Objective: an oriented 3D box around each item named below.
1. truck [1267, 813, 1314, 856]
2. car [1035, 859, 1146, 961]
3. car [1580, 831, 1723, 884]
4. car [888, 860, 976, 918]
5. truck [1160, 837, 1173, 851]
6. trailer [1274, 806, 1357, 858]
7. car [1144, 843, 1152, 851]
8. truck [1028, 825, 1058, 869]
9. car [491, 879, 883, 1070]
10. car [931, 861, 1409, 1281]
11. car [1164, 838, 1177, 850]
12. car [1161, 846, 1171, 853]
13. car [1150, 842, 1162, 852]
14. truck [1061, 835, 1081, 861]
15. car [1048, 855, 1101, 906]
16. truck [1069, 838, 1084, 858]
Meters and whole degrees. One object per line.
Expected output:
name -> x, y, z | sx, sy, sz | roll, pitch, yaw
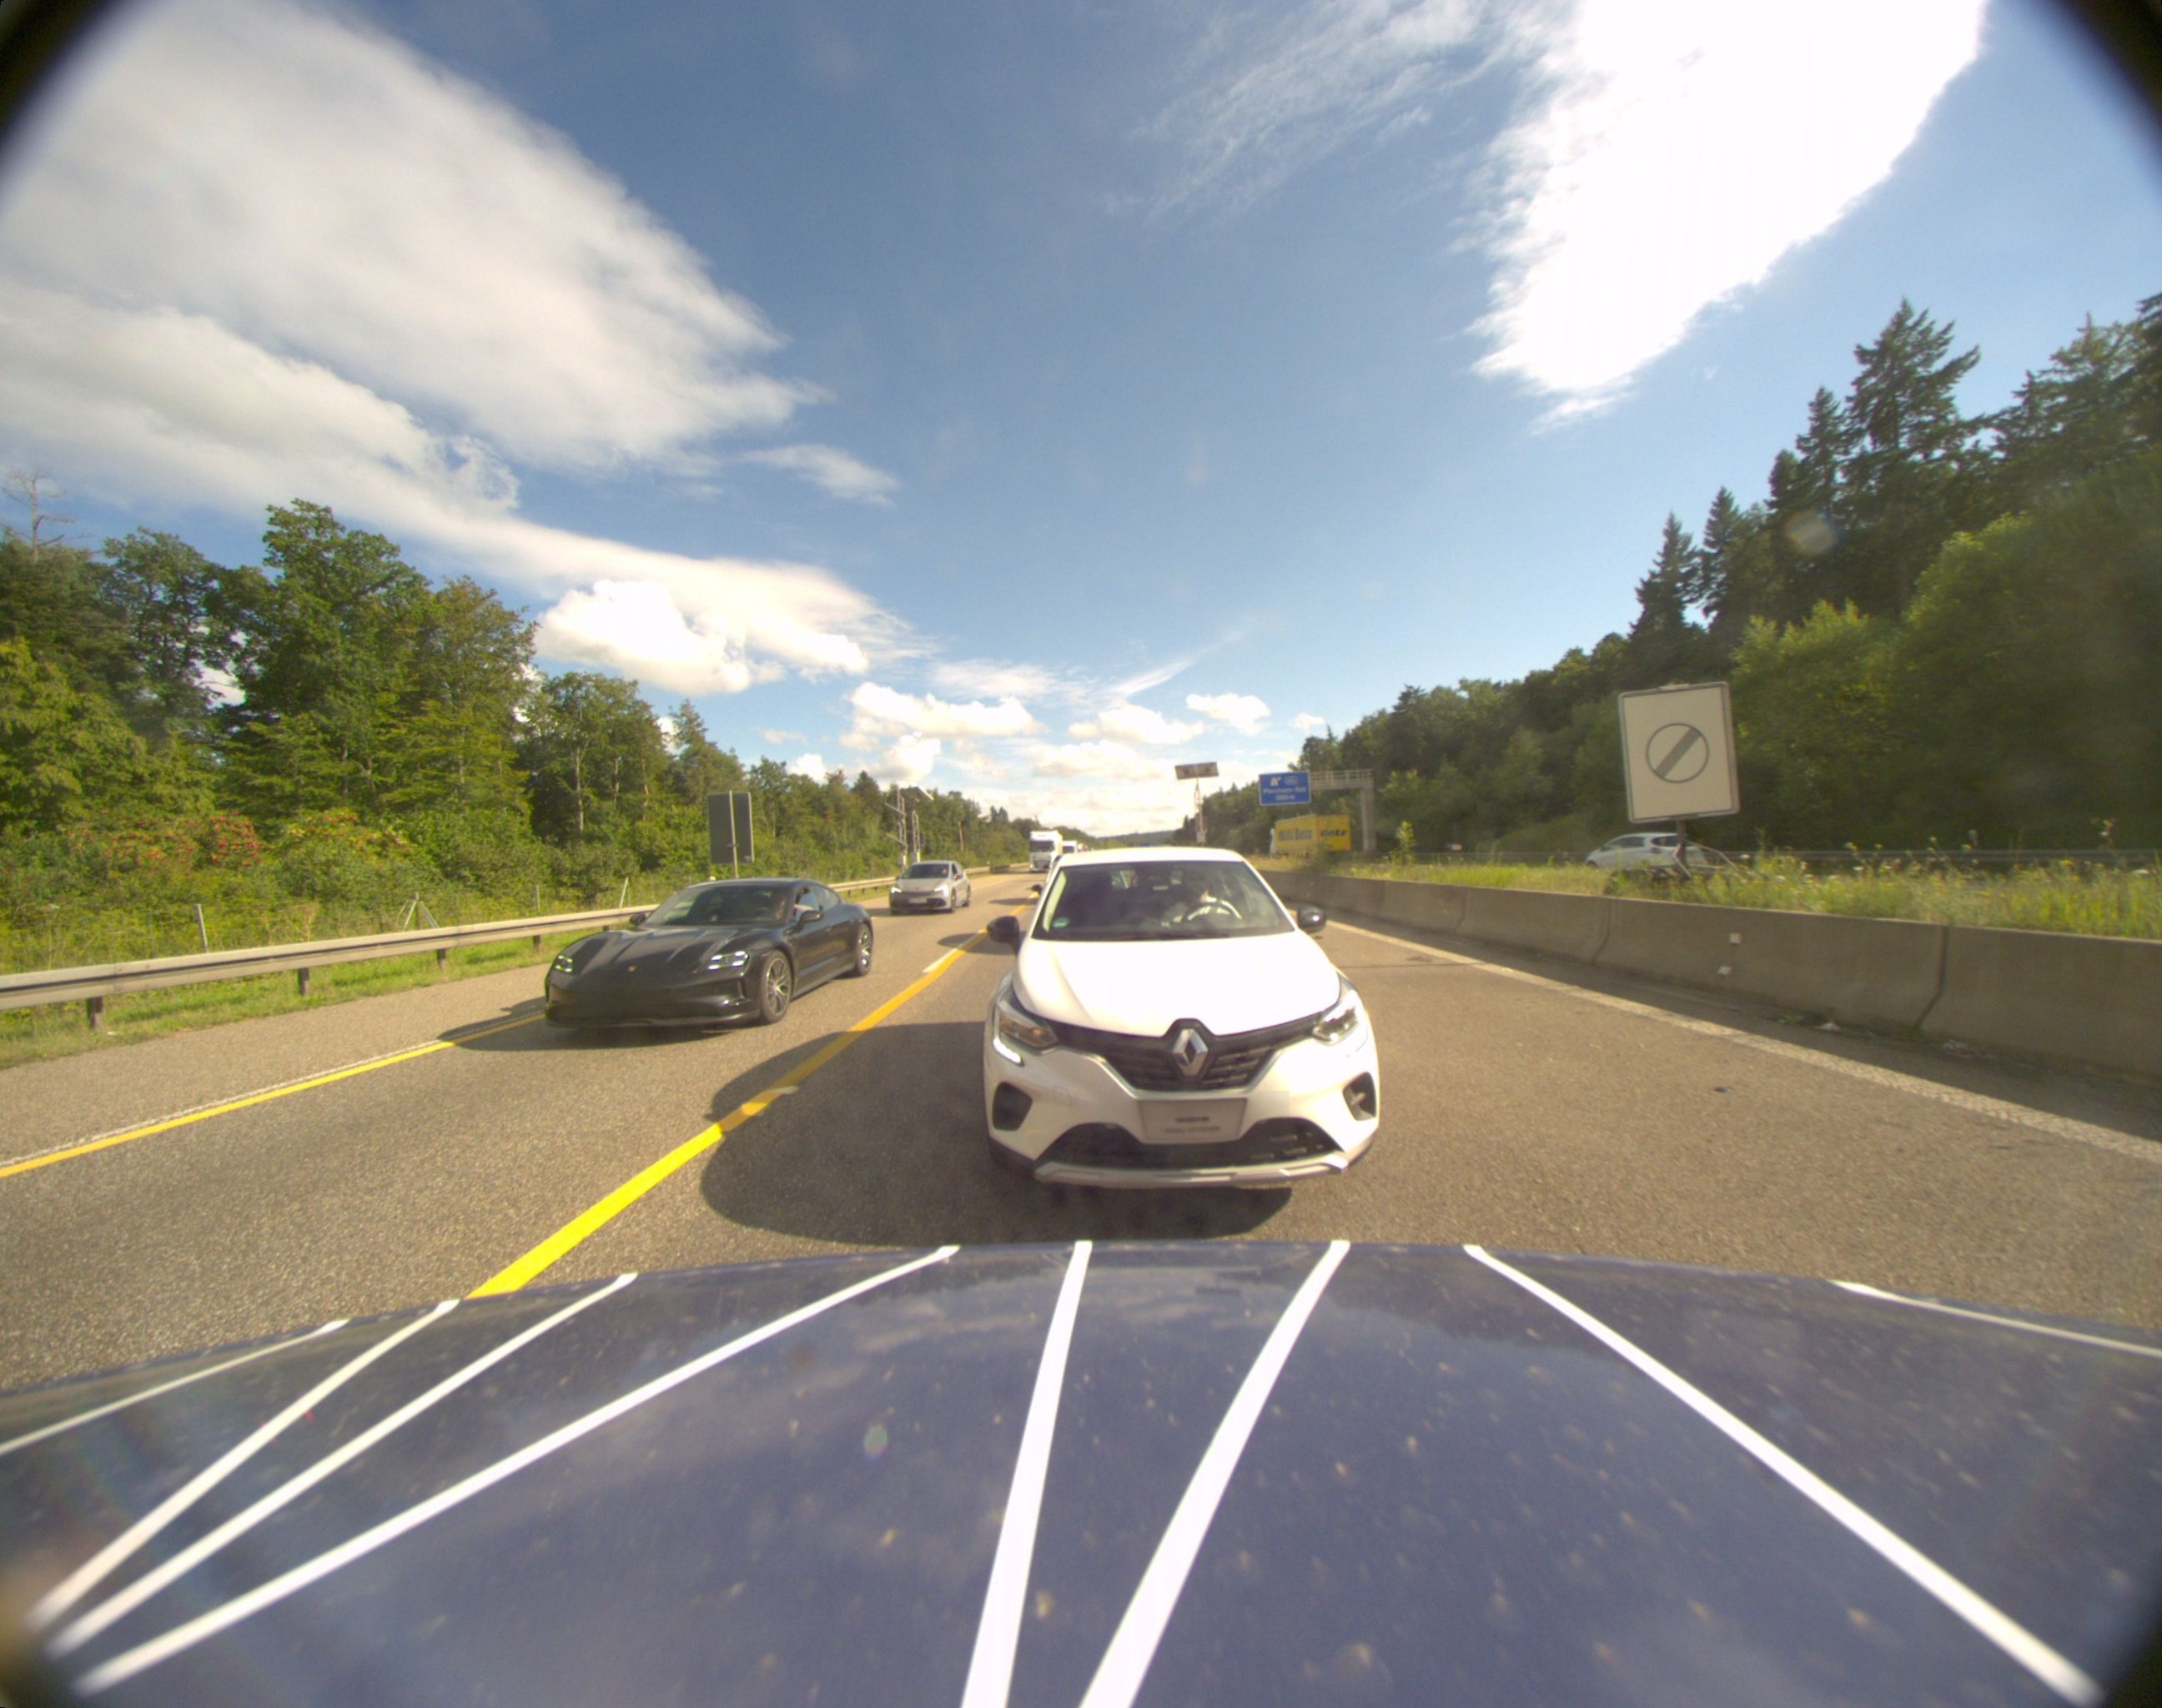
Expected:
truck -> 19.859, -1.827, 72.378 | 2.834, 3.886, 5.948 | -2, 1, 1
car -> 0.188, 0.893, 13.794 | 1.692, 1.471, 3.754 | -2, 1, 1
car -> 18.919, 0.074, 25.427 | 1.791, 1.551, 3.999 | -2, 1, 1
car -> -4.392, 0.984, 22.950 | 1.762, 1.471, 3.967 | -2, 1, 1
truck -> 26.359, -2.961, 234.301 | 2.807, 3.969, 10.185 | -2, 0, 1
trailer -> 19.797, -1.765, 65.384 | 2.834, 3.900, 13.938 | -2, 1, 1
car -> 21.335, -2.185, 241.706 | 2.165, 2.437, 6.330 | -4, 1, 1
truck -> -3.766, -0.665, 75.008 | 2.642, 4.092, 8.192 | -2, 0, -3
car -> -3.837, 1.071, 8.504 | 1.933, 1.342, 4.477 | -2, 0, 1
car -> 0.383, 0.886, 4.961 | 1.840, 1.528, 3.882 | -2, 1, 1
car -> 25.324, -2.766, 214.995 | 2.493, 3.351, 7.451 | -2, 1, 0
car -> 19.265, -1.010, 172.301 | 1.963, 1.355, 4.287 | -2, 1, 1
car -> 15.444, -1.481, 156.926 | 1.998, 2.002, 4.831 | -2, 1, 1
truck -> -1.576, -0.953, 125.689 | 2.640, 4.092, 8.196 | -2, 0, 3
car -> -0.165, 0.845, 26.243 | 1.633, 1.548, 3.754 | -2, 0, 1
truck -> -0.883, -1.273, 163.122 | 2.640, 4.092, 8.196 | -2, 0, 3
